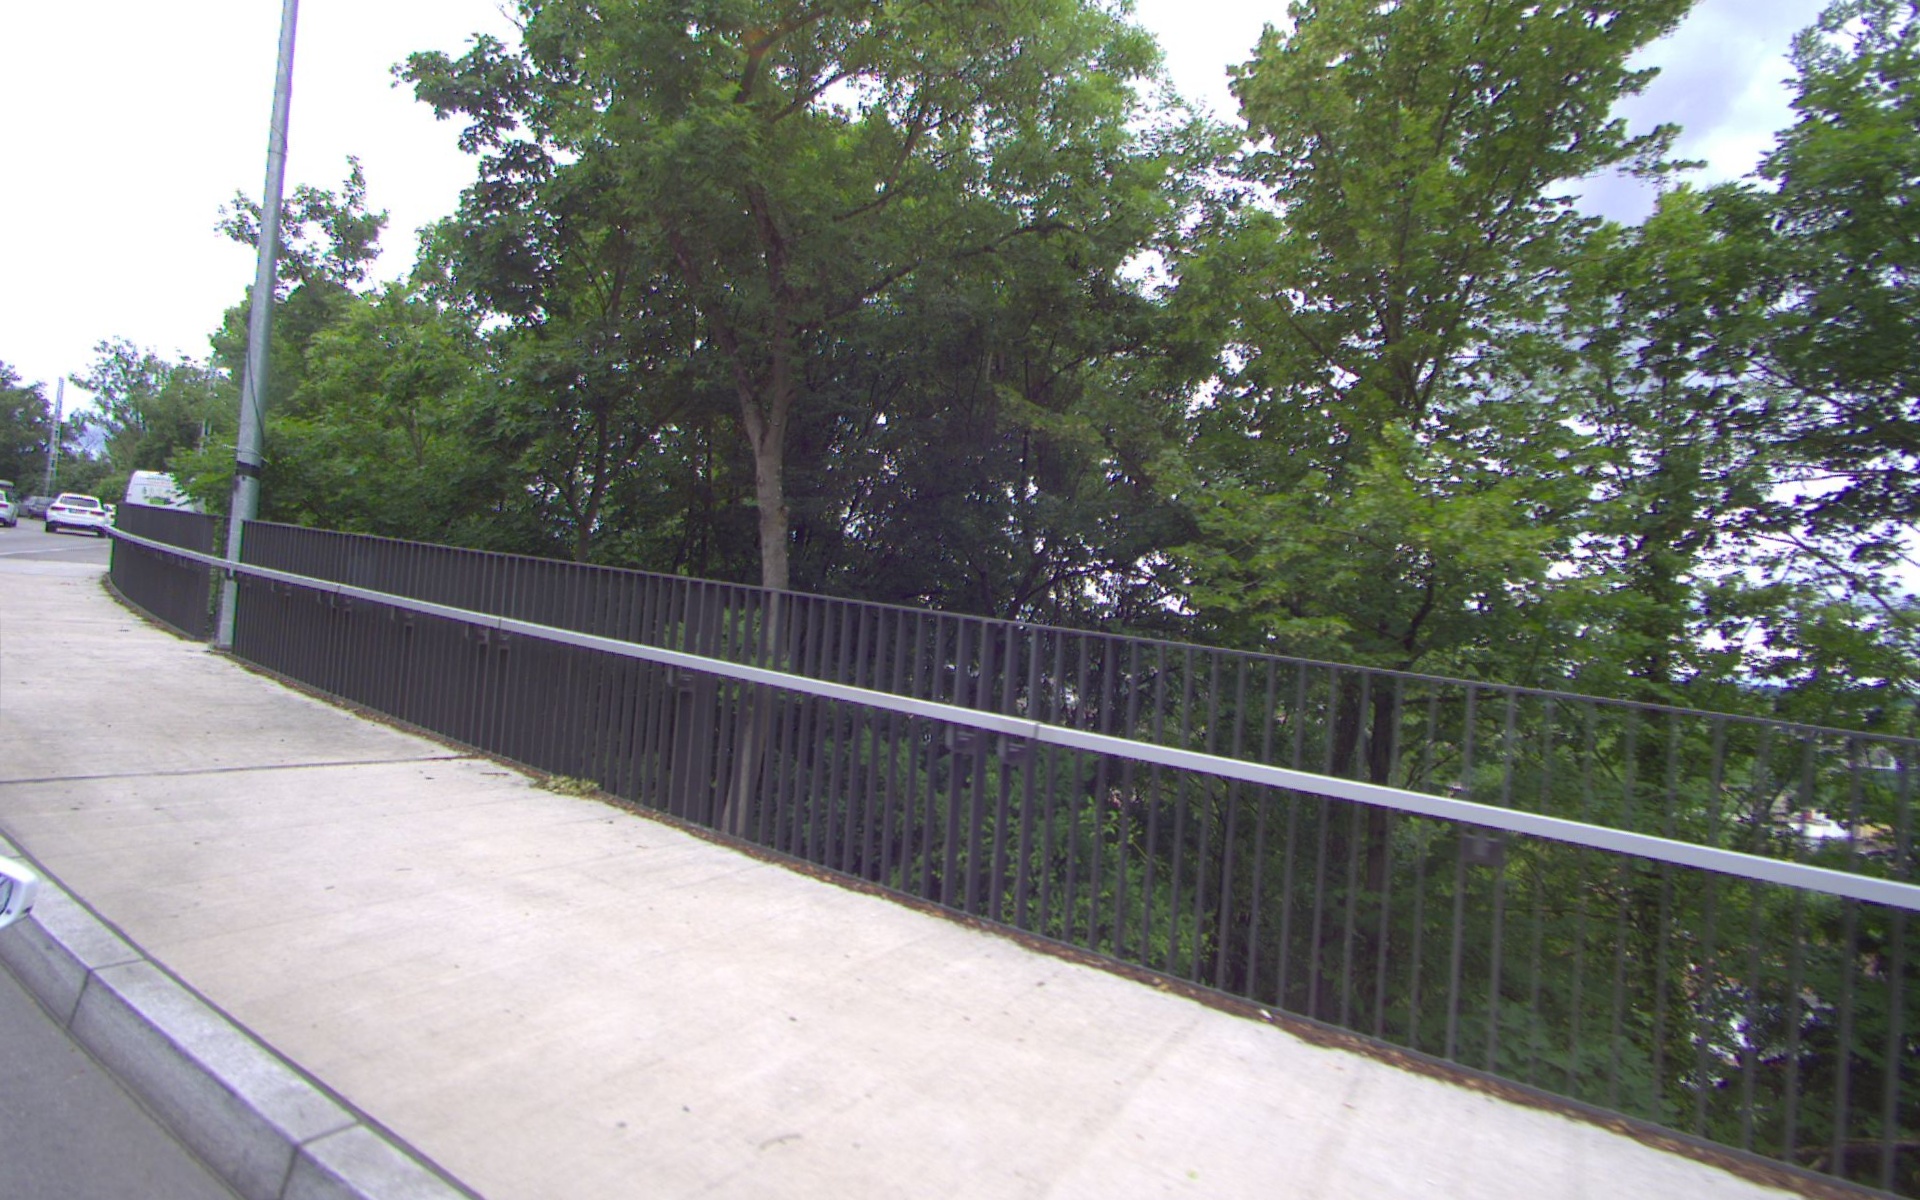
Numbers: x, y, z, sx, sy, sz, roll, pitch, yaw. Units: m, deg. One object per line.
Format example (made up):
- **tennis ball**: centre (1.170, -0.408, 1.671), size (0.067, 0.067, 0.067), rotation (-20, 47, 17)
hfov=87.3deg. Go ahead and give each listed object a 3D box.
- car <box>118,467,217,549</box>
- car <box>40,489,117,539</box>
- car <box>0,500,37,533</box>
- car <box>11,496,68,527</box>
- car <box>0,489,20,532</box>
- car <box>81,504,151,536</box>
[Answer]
- **car**: centre (-29.118, -3.278, 37.152), size (2.068, 2.556, 5.796), rotation (4, 1, -32)
- **car**: centre (-36.378, -3.506, 41.496), size (3.950, 1.603, 1.991), rotation (5, -4, 45)
- **car**: centre (-62.285, -5.543, 65.155), size (4.523, 1.792, 1.805), rotation (7, -2, 23)
- **car**: centre (-57.206, -5.499, 62.501), size (3.936, 1.481, 1.643), rotation (6, -2, 34)
- **car**: centre (-39.272, -3.705, 40.412), size (1.902, 1.591, 3.954), rotation (10, -4, -42)
- **car**: centre (-47.938, -4.550, 57.140), size (3.933, 1.436, 1.779), rotation (6, 0, 31)
